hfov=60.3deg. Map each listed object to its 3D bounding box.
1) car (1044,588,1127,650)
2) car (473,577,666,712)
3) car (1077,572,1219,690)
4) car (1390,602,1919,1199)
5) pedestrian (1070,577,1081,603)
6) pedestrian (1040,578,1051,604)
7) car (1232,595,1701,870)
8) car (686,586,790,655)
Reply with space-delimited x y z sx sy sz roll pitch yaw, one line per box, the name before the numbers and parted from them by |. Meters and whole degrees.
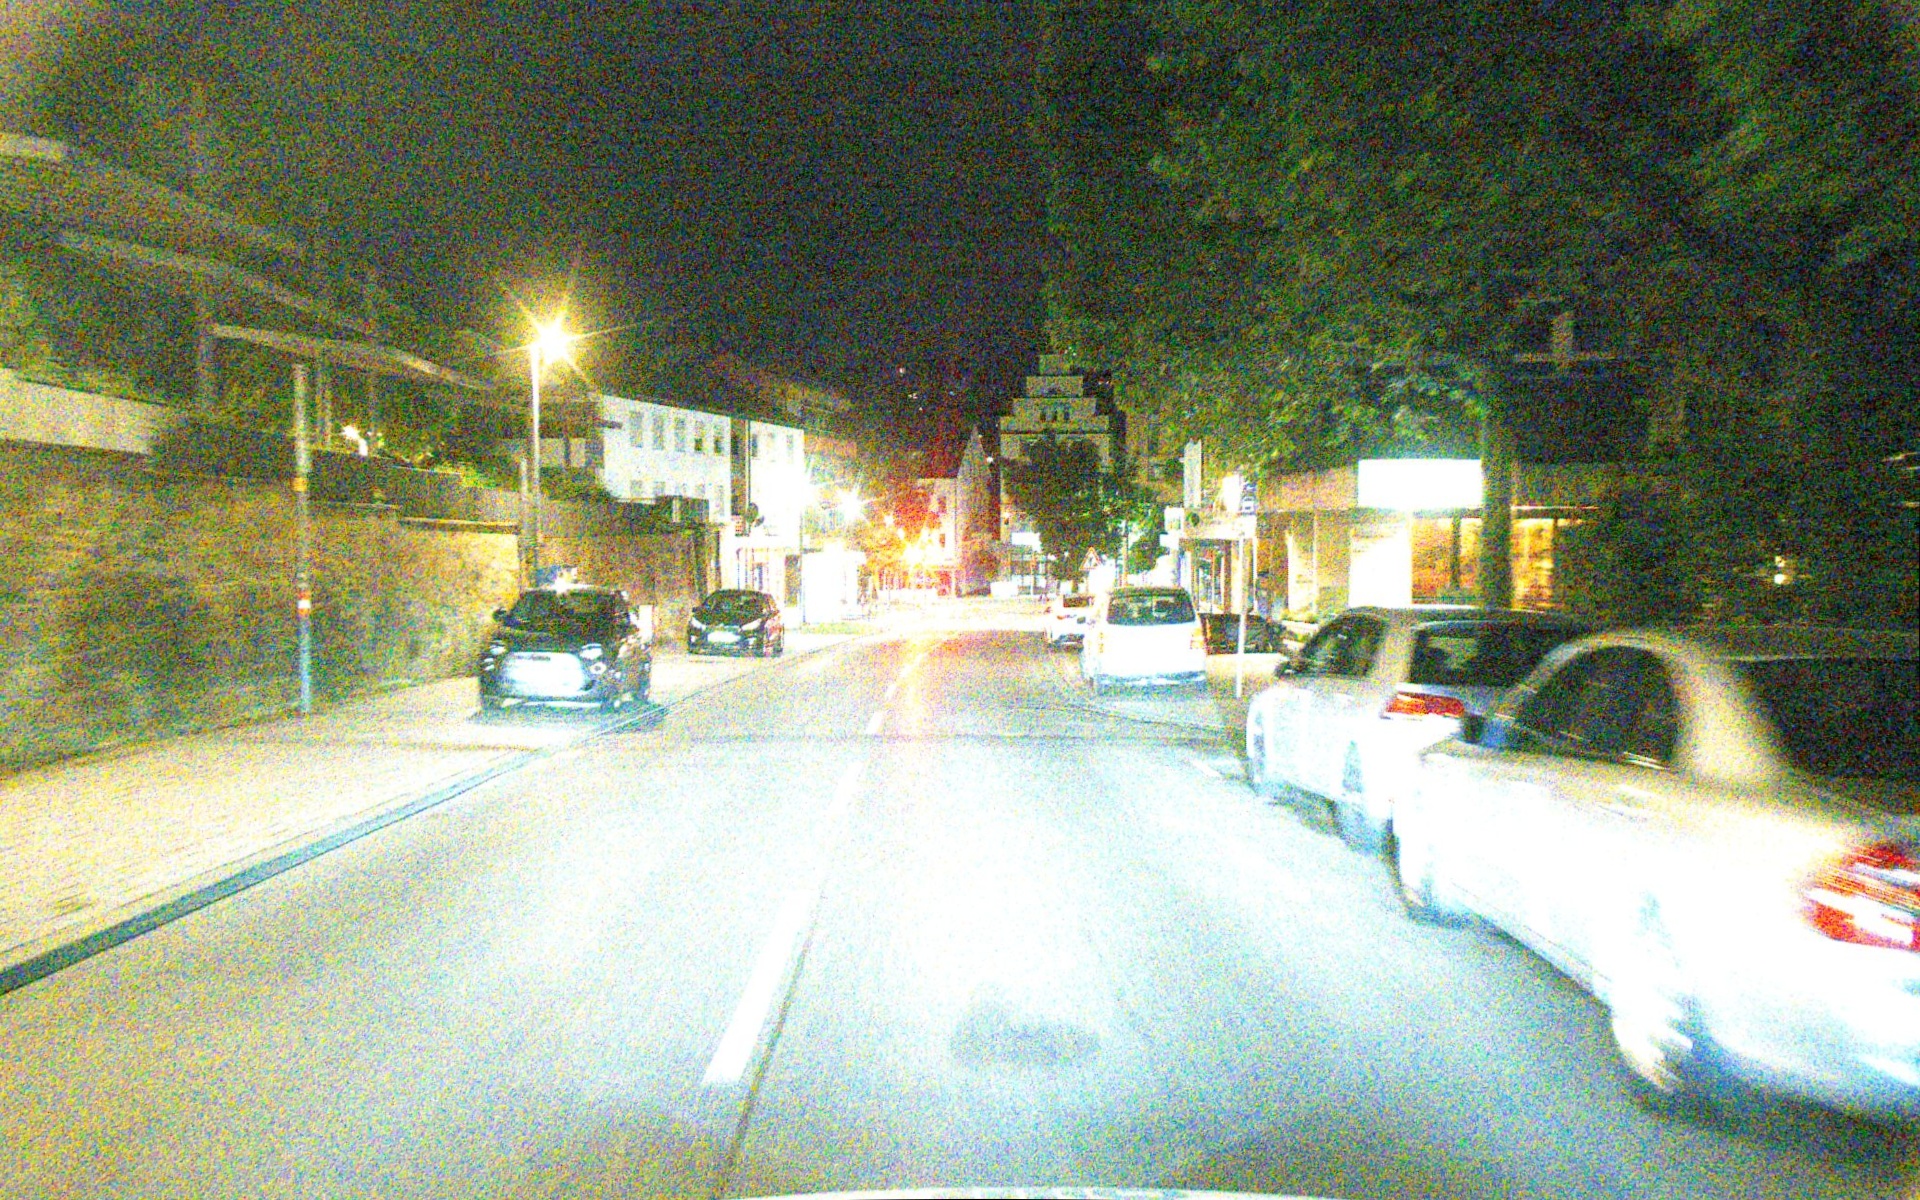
car | 3.149 0.449 42.338 1.819 1.467 4.595 -1 0 1
car | -4.910 0.546 21.257 1.657 1.550 3.690 1 -1 -2
car | 2.893 0.437 26.323 1.750 1.670 4.380 -2 0 0
car | 2.965 0.781 6.140 1.642 1.472 4.612 2 0 2
pedestrian | 8.355 -0.736 119.587 0.700 1.827 0.738 1 -1 12
pedestrian | 6.157 -0.652 118.992 0.700 1.827 0.570 1 -1 12
car | 3.160 0.729 11.296 1.744 1.462 4.288 2 0 -2
car | -5.093 0.437 38.444 1.656 1.461 4.129 2 1 2
